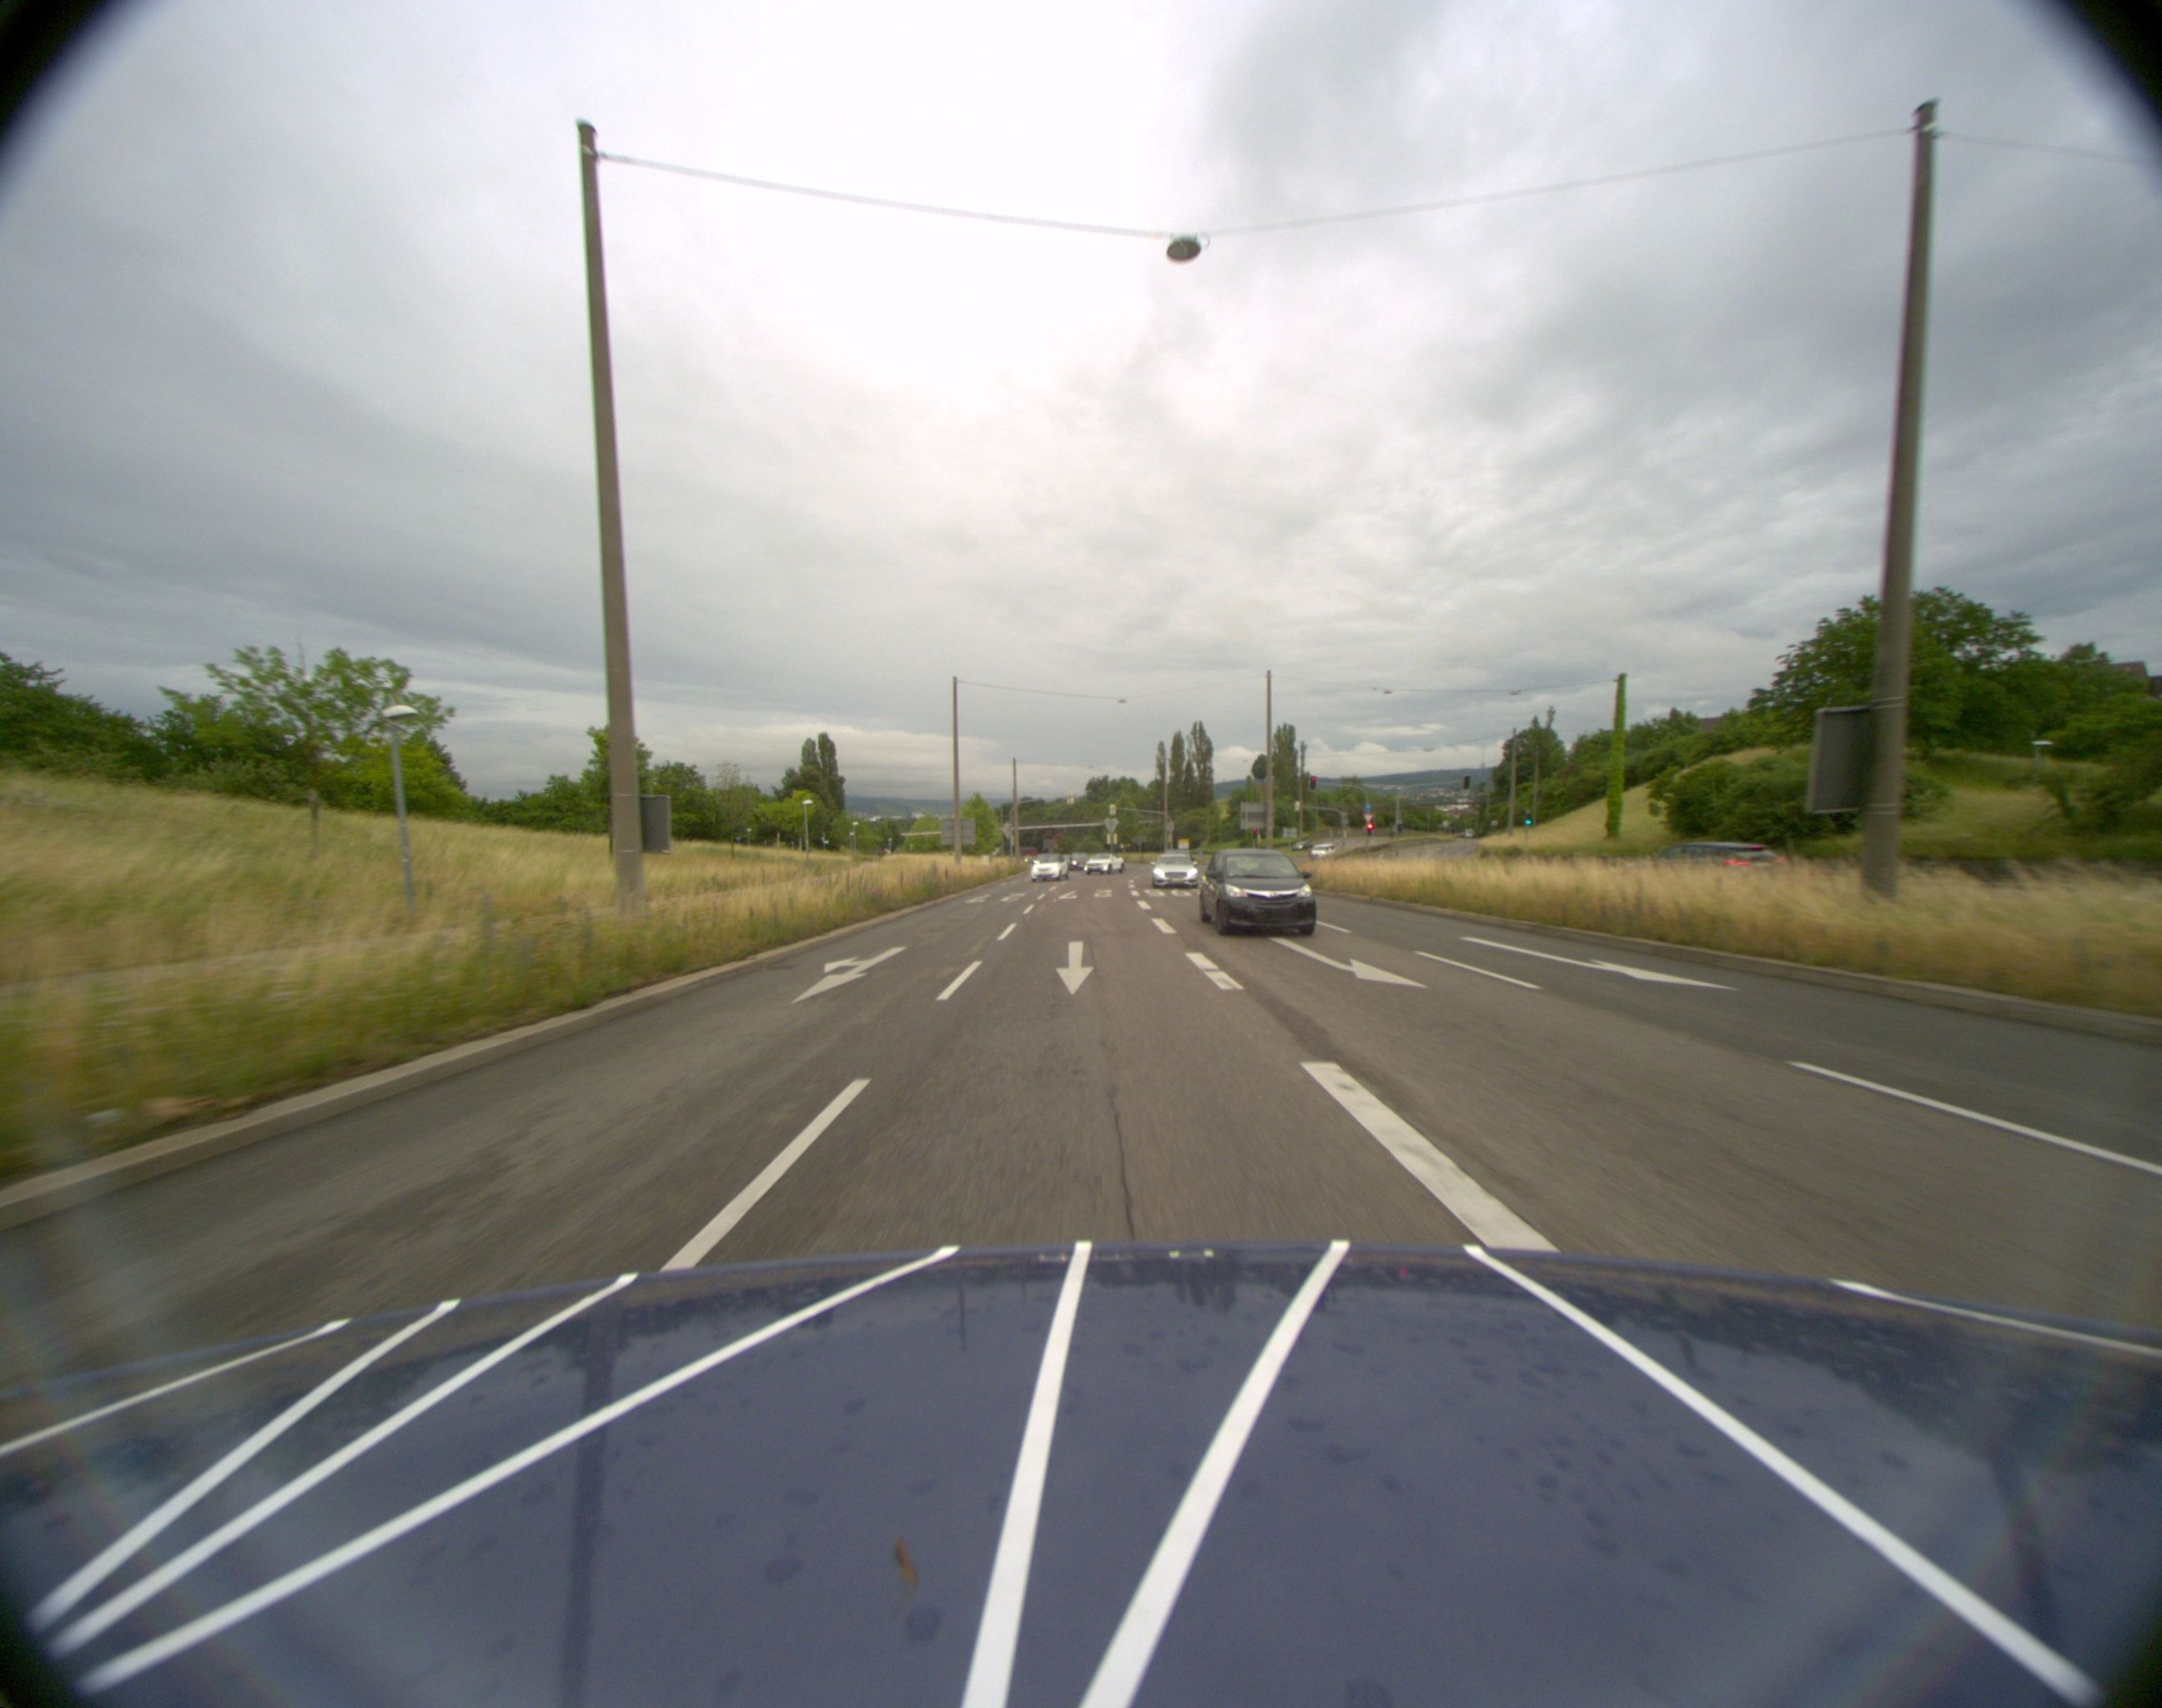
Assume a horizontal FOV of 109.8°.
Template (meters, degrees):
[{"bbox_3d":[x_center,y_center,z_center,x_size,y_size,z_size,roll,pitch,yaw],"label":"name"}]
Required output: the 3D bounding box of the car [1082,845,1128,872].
[{"bbox_3d":[1.815,0.314,55.567,1.840,1.532,3.821,-2,5,26],"label":"car"}]

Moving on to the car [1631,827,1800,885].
[{"bbox_3d":[19.859,0.026,24.030,1.866,1.611,3.998,-2,1,-3],"label":"car"}]

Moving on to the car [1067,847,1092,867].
[{"bbox_3d":[-0.184,0.270,70.361,1.999,1.633,4.626,-4,1,-3],"label":"car"}]

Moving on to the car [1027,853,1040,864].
[{"bbox_3d":[-9.104,0.804,146.181,2.000,2.002,3.996,-2,1,-10],"label":"car"}]

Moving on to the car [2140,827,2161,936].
[{"bbox_3d":[17.341,0.402,9.692,1.999,1.630,4.017,-3,1,-3],"label":"car"}]

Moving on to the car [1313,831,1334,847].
[{"bbox_3d":[27.263,-1.748,85.235,1.996,1.682,4.294,-2,1,21],"label":"car"}]

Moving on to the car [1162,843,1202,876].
[{"bbox_3d":[5.861,0.286,44.485,1.927,1.725,4.025,-2,1,3],"label":"car"}]

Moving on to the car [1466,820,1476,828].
[{"bbox_3d":[81.307,-6.219,158.341,1.557,1.424,3.235,-3,2,32],"label":"car"}]

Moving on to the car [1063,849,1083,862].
[{"bbox_3d":[-1.042,0.142,95.552,1.872,1.477,3.996,-2,1,-9],"label":"car"}]

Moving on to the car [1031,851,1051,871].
[{"bbox_3d":[-3.745,0.607,71.491,1.720,1.633,3.885,-4,1,-3],"label":"car"}]

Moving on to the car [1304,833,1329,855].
[{"bbox_3d":[23.140,-1.002,74.524,1.996,2.001,4.006,-4,-1,21],"label":"car"}]

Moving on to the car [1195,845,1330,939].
[{"bbox_3d":[3.366,0.616,14.866,1.800,1.556,4.043,-1,1,2],"label":"car"}]

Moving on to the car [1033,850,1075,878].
[{"bbox_3d":[-1.538,0.544,44.885,1.724,1.513,4.229,0,1,9],"label":"car"}]

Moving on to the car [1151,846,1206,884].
[{"bbox_3d":[4.097,0.433,32.534,1.998,1.400,4.524,2,1,4],"label":"car"}]

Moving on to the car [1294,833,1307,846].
[{"bbox_3d":[35.401,-2.304,122.597,1.996,2.002,4.004,0,1,15],"label":"car"}]
